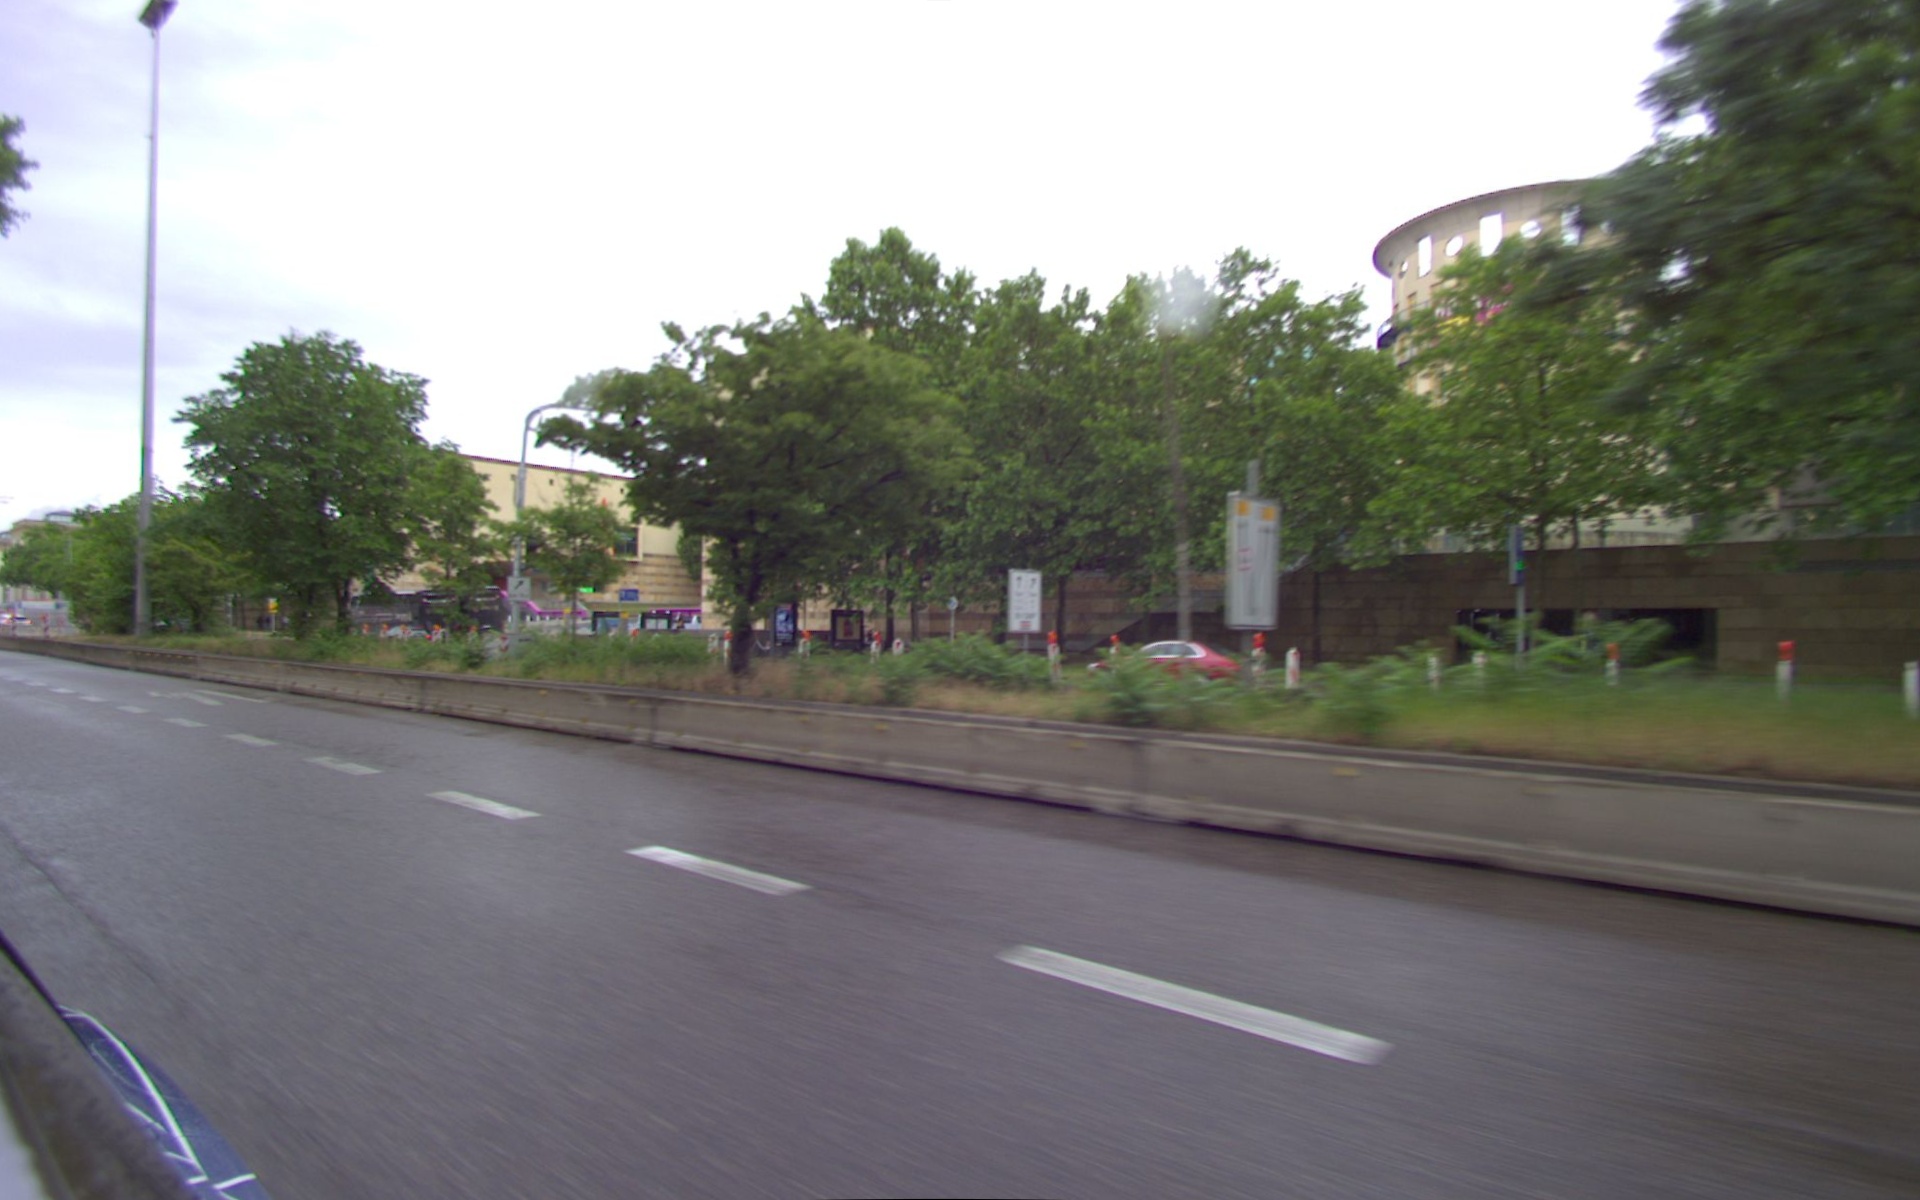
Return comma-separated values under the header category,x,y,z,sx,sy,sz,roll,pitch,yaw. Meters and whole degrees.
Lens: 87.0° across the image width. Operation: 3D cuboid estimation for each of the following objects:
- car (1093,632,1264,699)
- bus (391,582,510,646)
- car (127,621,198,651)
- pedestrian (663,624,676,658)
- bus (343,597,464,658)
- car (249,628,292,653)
category,x,y,z,sx,sy,sz,roll,pitch,yaw
car,5.758,1.699,26.908,3.998,1.541,1.973,0,-3,41
bus,-36.868,1.022,72.827,13.492,4.284,3.085,-1,-1,42
car,-44.172,1.953,56.025,3.990,1.608,1.976,-1,-2,35
pedestrian,-17.893,2.531,62.379,0.511,2.029,0.473,0,-3,39
bus,-38.430,1.816,69.465,14.595,3.840,2.774,-1,-1,43
car,-49.556,2.900,72.717,3.209,1.511,1.577,3,1,36
